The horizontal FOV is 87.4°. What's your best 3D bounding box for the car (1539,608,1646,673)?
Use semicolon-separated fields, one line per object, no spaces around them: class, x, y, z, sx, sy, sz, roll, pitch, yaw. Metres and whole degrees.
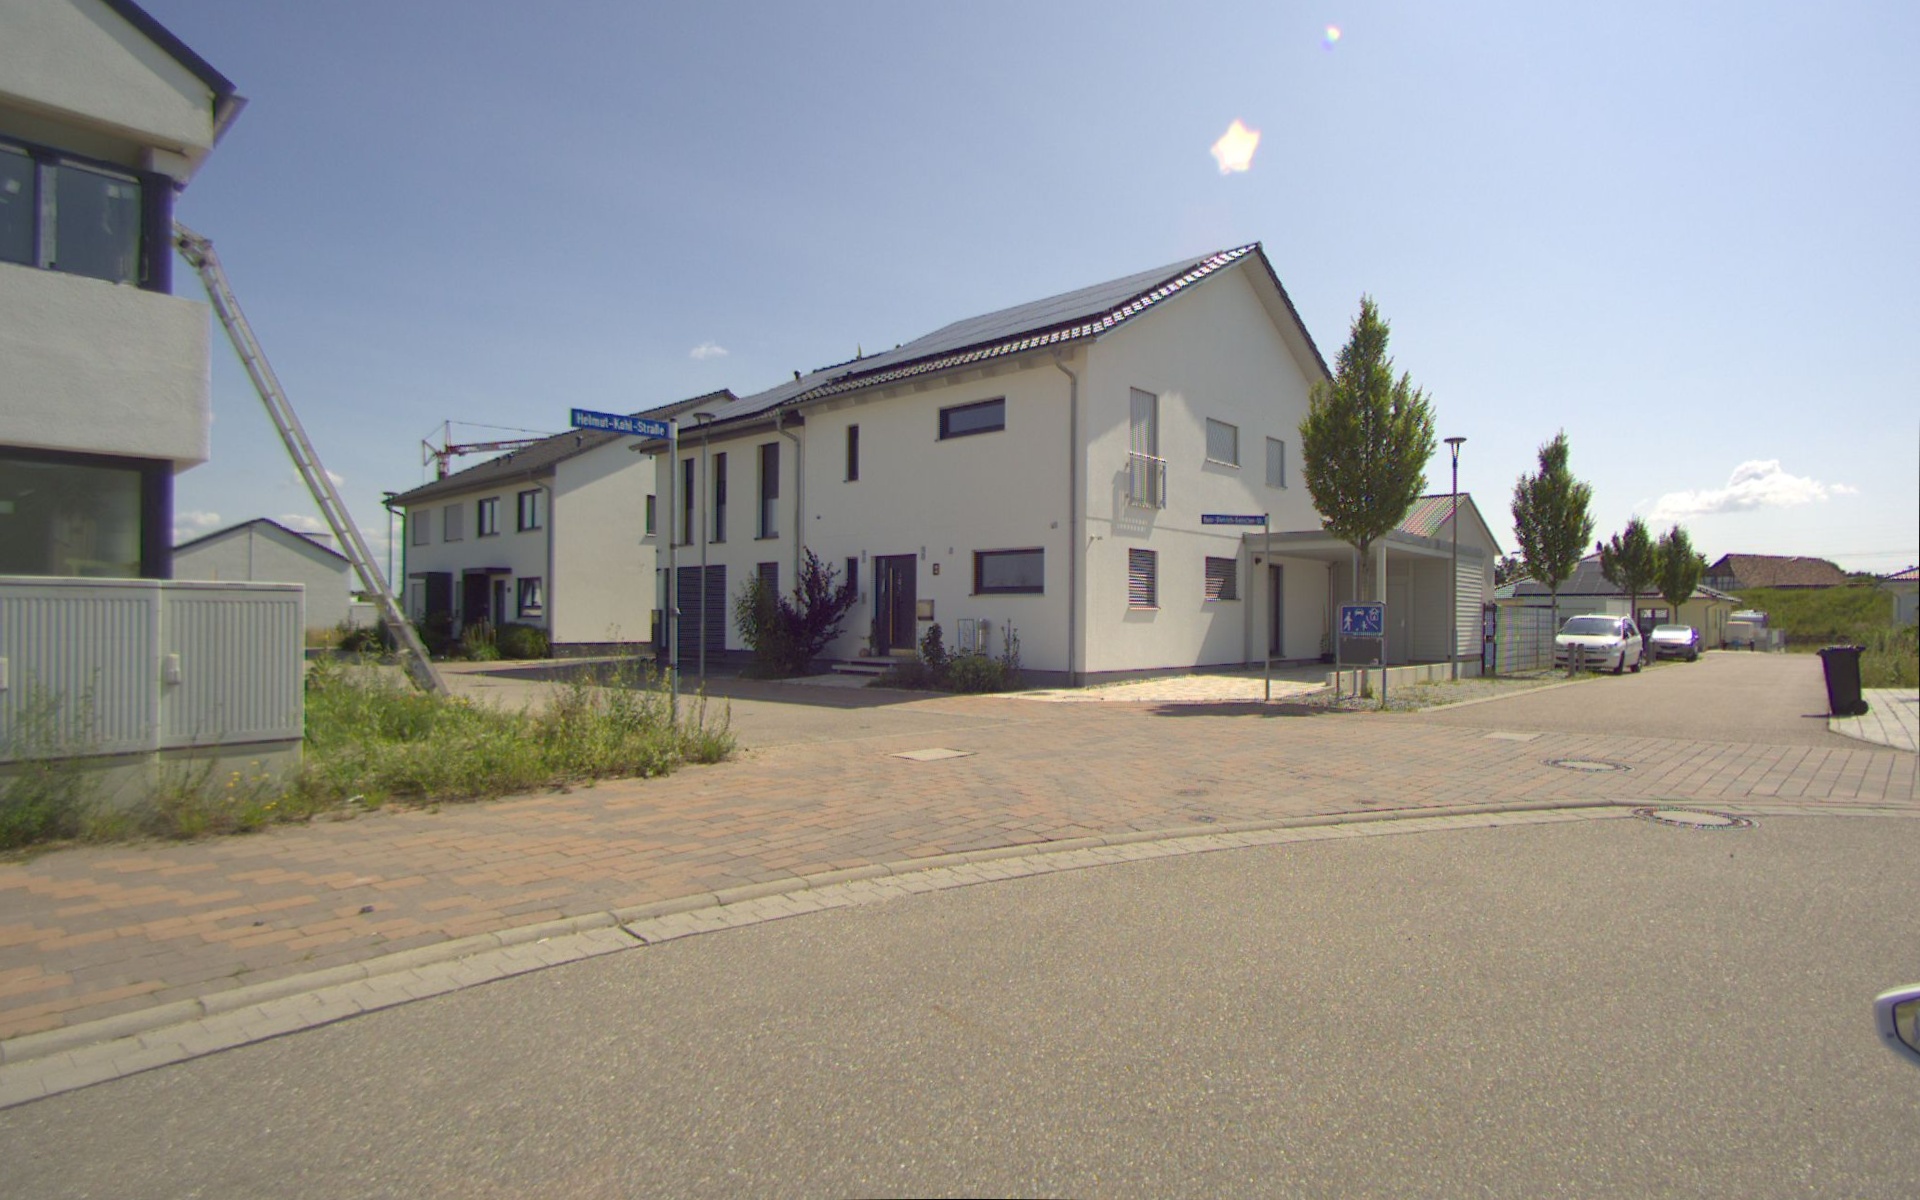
car;19.442;1.225;30.801;1.971;1.813;4.621;1;-1;42

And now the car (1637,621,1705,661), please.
car;32.177;1.841;45.410;1.971;1.635;4.460;1;-1;42

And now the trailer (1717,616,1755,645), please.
trailer;46.887;1.843;60.659;1.609;1.635;2.547;1;-1;43

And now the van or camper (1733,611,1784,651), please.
van or camper;52.246;2.046;65.682;2.238;2.443;4.818;2;-1;42

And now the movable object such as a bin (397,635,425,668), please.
movable object such as a bin;-16.087;1.508;29.440;0.455;0.933;0.594;-1;-1;44

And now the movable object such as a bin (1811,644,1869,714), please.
movable object such as a bin;12.574;1.120;14.354;0.593;0.961;0.498;-2;-2;42
